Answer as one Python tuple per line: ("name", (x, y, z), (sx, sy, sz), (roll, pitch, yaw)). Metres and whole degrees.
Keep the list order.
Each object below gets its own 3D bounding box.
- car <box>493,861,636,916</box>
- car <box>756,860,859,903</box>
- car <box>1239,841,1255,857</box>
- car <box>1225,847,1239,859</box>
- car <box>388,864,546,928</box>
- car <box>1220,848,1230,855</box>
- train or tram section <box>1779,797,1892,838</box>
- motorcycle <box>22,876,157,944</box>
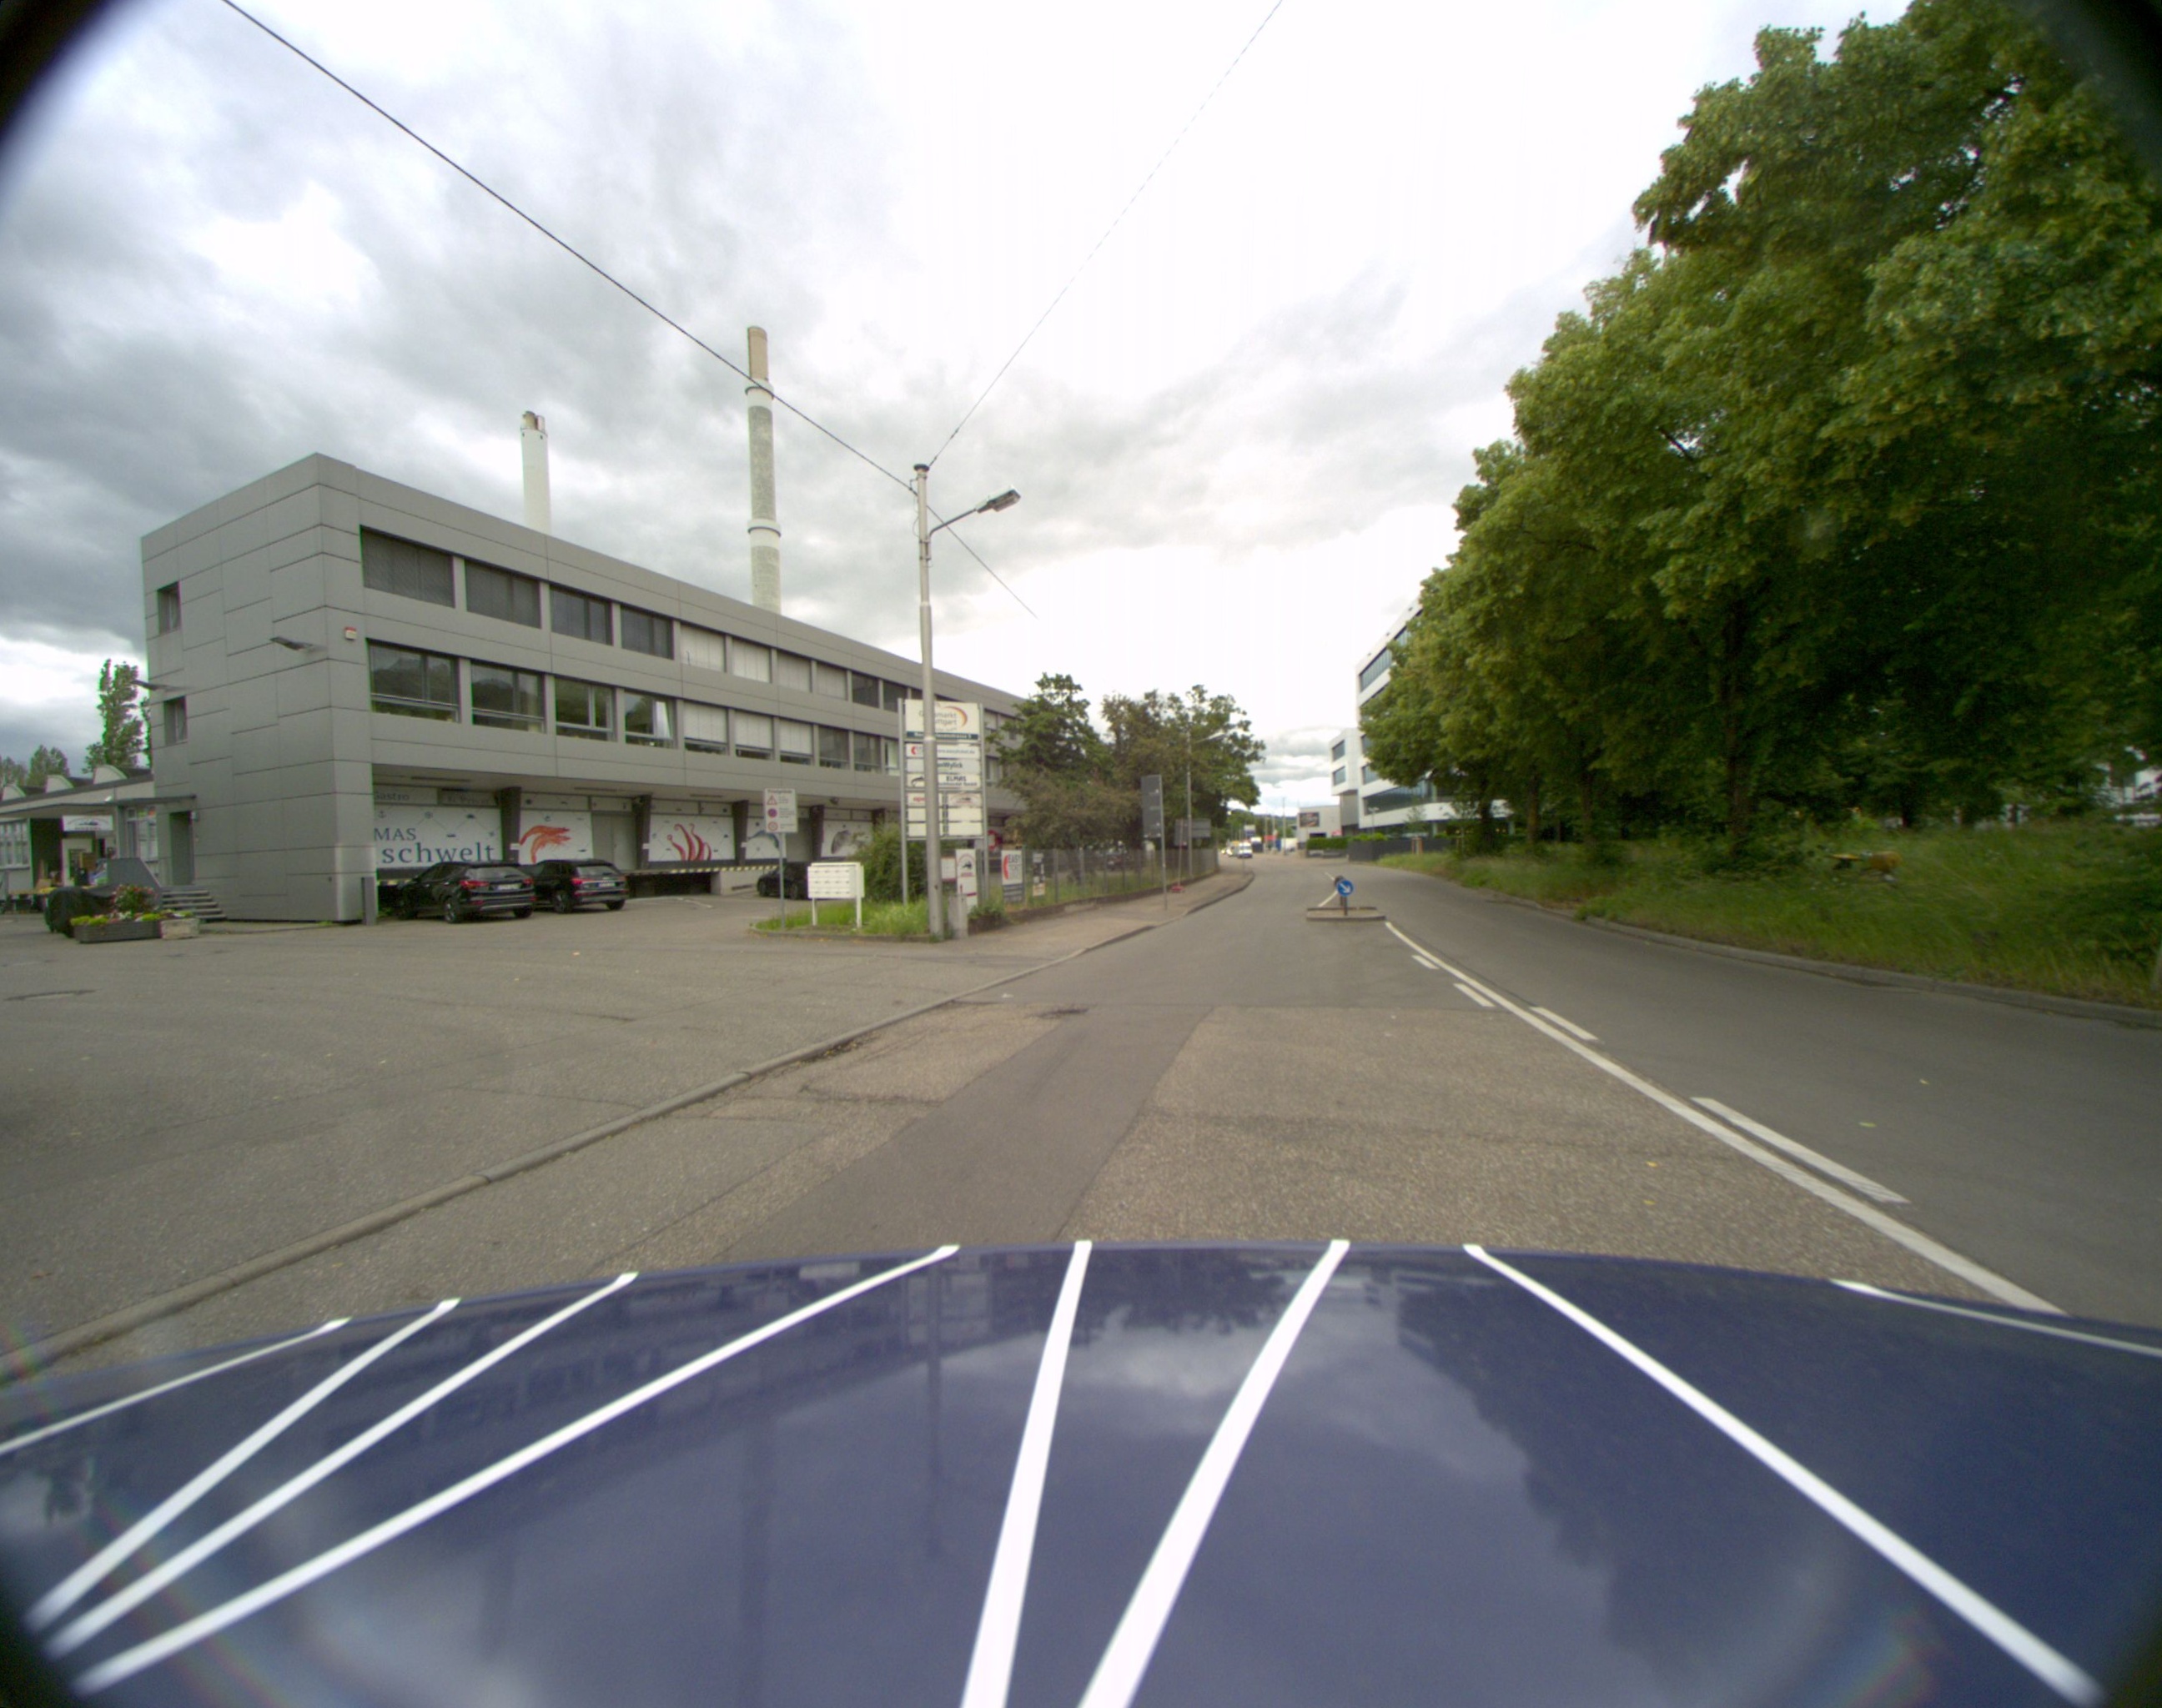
("car", (-16.515, 1.043, 24.278), (4.412, 1.608, 1.842), (0, 1, 27))
("car", (-11.157, 1.037, 30.818), (4.814, 1.437, 2.055), (1, 2, 45))
("car", (26.370, -0.792, 120.830), (2.386, 2.444, 6.105), (-3, 0, 11))
("car", (26.557, -0.187, 133.685), (2.386, 1.859, 5.211), (-3, 0, 11))
("car", (-17.541, 1.123, 21.676), (4.453, 1.608, 1.842), (0, 1, 28))
("car", (37.503, -0.647, 198.055), (2.386, 1.859, 5.211), (-3, 0, 11))
("train or tram section", (77.475, -3.562, 78.746), (3.269, 3.644, 19.208), (-2, 1, 29))
("motorcycle", (-27.045, 1.460, 20.830), (1.198, 1.645, 2.887), (-2, 0, -31))
